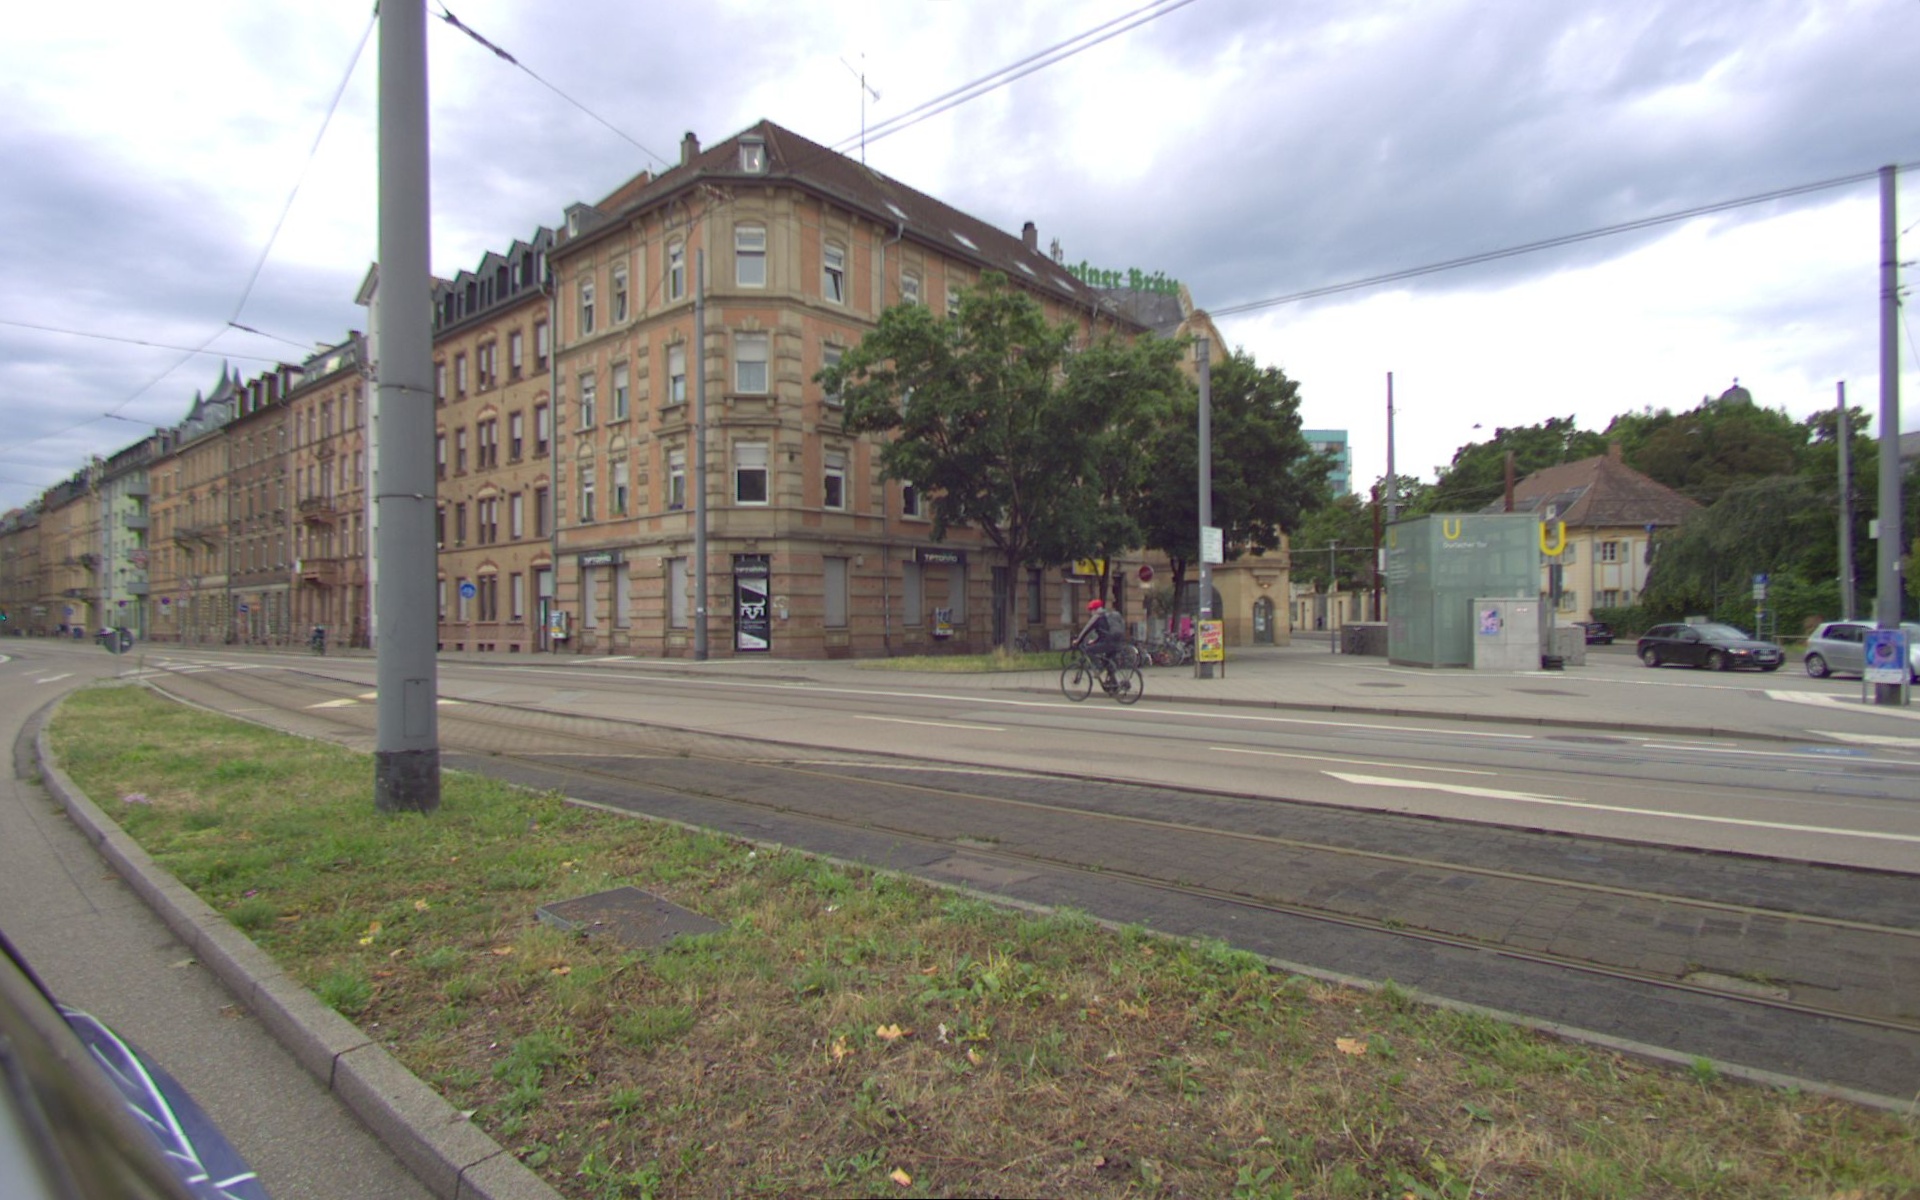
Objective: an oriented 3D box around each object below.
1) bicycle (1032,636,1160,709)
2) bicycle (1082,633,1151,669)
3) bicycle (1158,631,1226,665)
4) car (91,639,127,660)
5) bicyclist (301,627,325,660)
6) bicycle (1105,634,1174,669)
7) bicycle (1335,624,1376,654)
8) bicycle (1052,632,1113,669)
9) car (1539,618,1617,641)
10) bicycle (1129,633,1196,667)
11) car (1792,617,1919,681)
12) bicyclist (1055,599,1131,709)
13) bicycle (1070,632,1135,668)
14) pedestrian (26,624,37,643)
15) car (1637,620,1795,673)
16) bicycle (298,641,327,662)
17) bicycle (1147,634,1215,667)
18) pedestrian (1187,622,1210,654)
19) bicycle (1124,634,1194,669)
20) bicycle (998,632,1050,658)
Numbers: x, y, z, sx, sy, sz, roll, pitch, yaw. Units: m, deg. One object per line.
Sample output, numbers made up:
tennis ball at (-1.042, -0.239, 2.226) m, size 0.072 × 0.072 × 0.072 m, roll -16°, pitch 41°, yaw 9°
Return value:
bicycle at (2.408, 1.263, 18.173) m, size 2.235 × 1.217 × 0.814 m, roll -2°, pitch -3°, yaw 45°
bicycle at (4.551, 1.471, 29.564) m, size 0.472 × 1.014 × 2.225 m, roll 0°, pitch -1°, yaw -39°
bicycle at (7.625, 1.571, 33.314) m, size 0.678 × 1.047 × 2.225 m, roll 0°, pitch -1°, yaw -39°
car at (-67.247, 3.900, 79.953) m, size 3.829 × 1.491 × 1.828 m, roll -2°, pitch -1°, yaw 44°
bicyclist at (-29.869, 1.987, 46.702) m, size 0.941 × 1.506 × 0.655 m, roll -2°, pitch -1°, yaw 38°
bicycle at (5.272, 1.501, 29.890) m, size 0.492 × 0.994 × 2.225 m, roll 0°, pitch -1°, yaw -39°
bicycle at (15.246, 1.489, 39.094) m, size 0.730 × 1.123 × 2.360 m, roll -1°, pitch -1°, yaw 3°
bicycle at (3.477, 1.419, 28.820) m, size 0.492 × 0.994 × 1.872 m, roll 0°, pitch -1°, yaw -40°
car at (37.105, 1.767, 60.876) m, size 1.904 × 1.298 × 4.006 m, roll -1°, pitch -1°, yaw -7°
bicycle at (6.286, 1.543, 31.538) m, size 0.492 × 0.994 × 2.225 m, roll 0°, pitch -1°, yaw -39°
car at (23.099, 1.154, 25.038) m, size 1.739 × 1.465 × 4.155 m, roll -1°, pitch -1°, yaw 4°
bicyclist at (2.378, 0.953, 18.145) m, size 1.049 × 1.906 × 0.819 m, roll -3°, pitch -3°, yaw 45°
bicycle at (4.096, 1.432, 29.242) m, size 0.513 × 0.994 × 2.042 m, roll 0°, pitch -1°, yaw -39°
pedestrian at (-102.530, 3.717, 111.725) m, size 0.733 × 2.029 × 0.804 m, roll -2°, pitch -2°, yaw 41°
car at (23.224, 1.389, 31.300) m, size 1.673 × 1.460 × 4.143 m, roll -1°, pitch -1°, yaw -1°
bicycle at (-29.886, 2.382, 46.716) m, size 1.717 × 0.922 × 0.600 m, roll -2°, pitch -1°, yaw 37°
bicycle at (7.016, 1.577, 32.195) m, size 0.576 × 0.994 × 2.225 m, roll 0°, pitch -1°, yaw -39°
pedestrian at (13.232, 2.124, 56.160) m, size 0.847 × 1.735 × 0.938 m, roll -2°, pitch -1°, yaw 44°
bicycle at (6.047, 1.547, 30.881) m, size 0.601 × 0.994 × 2.225 m, roll 0°, pitch -1°, yaw -39°
bicycle at (2.333, 1.658, 37.035) m, size 0.652 × 0.921 × 1.991 m, roll 1°, pitch -2°, yaw -43°
